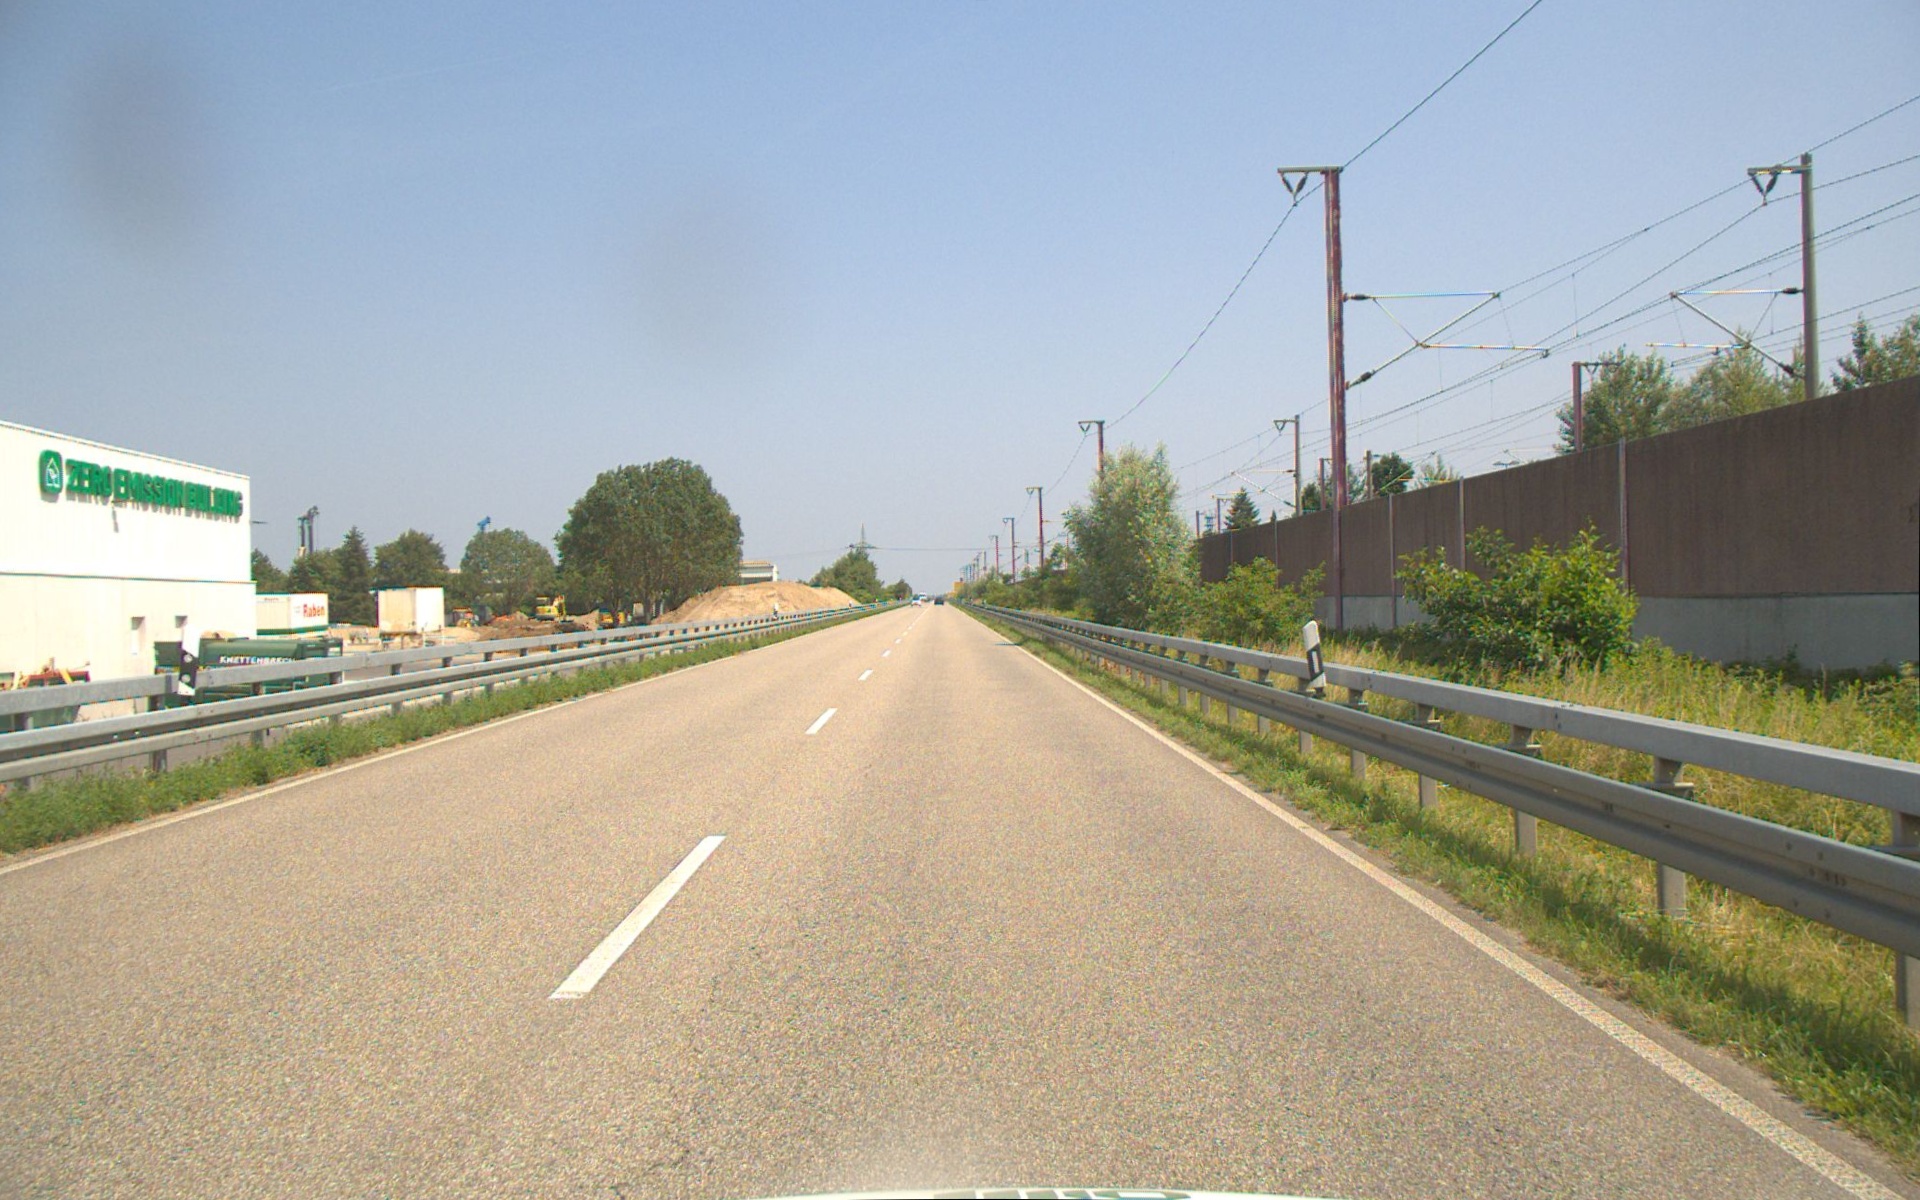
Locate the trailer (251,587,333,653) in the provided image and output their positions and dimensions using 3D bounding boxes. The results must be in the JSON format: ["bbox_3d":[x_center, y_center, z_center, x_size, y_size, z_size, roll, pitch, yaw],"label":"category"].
[{"bbox_3d":[-44.795,1.292,111.142,2.689,4.220,7.893,0,1,-4],"label":"trailer"}]

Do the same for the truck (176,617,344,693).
[{"bbox_3d":[-24.594,1.908,58.250,4.946,2.582,2.271,0,-1,-6],"label":"truck"}]

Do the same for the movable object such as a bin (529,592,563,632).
[{"bbox_3d":[-40.602,1.199,161.971,2.582,3.716,5.430,-3,0,-19],"label":"movable object such as a bin"}]

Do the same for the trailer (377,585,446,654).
[{"bbox_3d":[-36.803,1.208,111.260,2.626,4.408,7.945,0,1,-5],"label":"trailer"}]

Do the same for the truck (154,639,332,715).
[{"bbox_3d":[-23.710,2.535,54.808,4.907,2.374,2.232,0,0,-1],"label":"truck"}]
